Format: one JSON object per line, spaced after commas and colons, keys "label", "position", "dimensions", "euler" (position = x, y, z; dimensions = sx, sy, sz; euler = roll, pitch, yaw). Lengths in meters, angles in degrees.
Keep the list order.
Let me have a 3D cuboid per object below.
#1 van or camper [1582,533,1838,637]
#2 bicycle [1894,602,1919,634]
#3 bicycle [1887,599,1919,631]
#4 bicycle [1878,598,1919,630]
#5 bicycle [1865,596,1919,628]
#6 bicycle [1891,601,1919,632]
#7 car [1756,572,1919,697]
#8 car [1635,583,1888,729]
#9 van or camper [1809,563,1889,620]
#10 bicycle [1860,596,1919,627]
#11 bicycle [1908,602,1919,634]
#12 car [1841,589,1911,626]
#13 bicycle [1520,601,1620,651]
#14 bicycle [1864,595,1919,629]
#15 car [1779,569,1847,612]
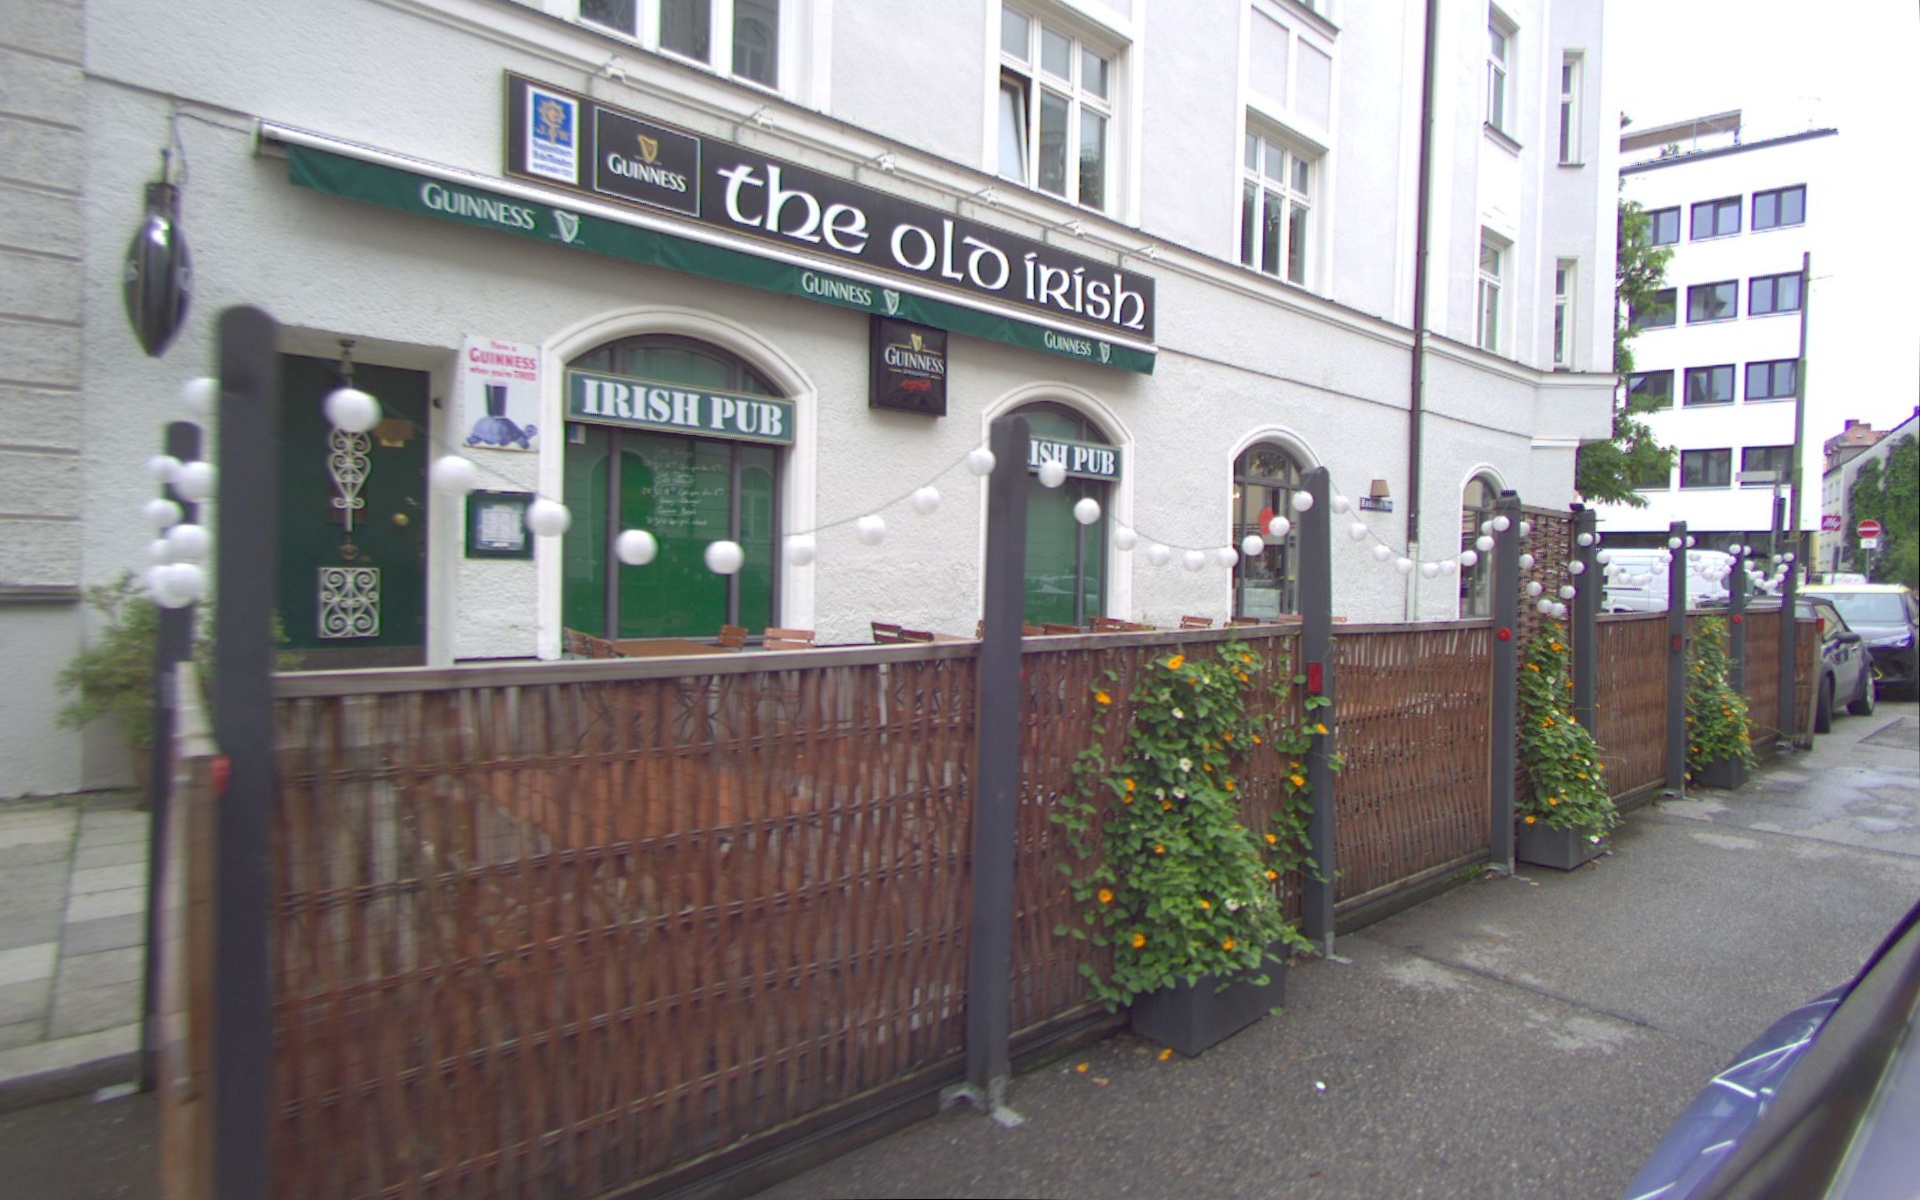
{"label": "van or camper", "position": [21.889, -0.452, 29.740], "dimensions": [5.847, 2.748, 2.270], "euler": [2, -1, 41]}
{"label": "bicycle", "position": [31.471, 0.594, 32.427], "dimensions": [2.165, 0.988, 0.962], "euler": [2, 1, 37]}
{"label": "bicycle", "position": [32.824, 0.526, 34.201], "dimensions": [2.094, 1.045, 0.962], "euler": [2, 1, 37]}
{"label": "bicycle", "position": [33.431, 0.501, 35.185], "dimensions": [2.141, 1.045, 0.962], "euler": [2, 1, 37]}
{"label": "bicycle", "position": [35.878, 0.444, 38.400], "dimensions": [2.193, 1.160, 0.687], "euler": [2, 1, 37]}
{"label": "bicycle", "position": [32.200, 0.570, 33.308], "dimensions": [2.162, 0.976, 0.962], "euler": [2, 1, 37]}
{"label": "car", "position": [13.596, 0.451, 15.209], "dimensions": [4.023, 1.639, 1.839], "euler": [0, -1, -41]}
{"label": "car", "position": [9.266, 0.550, 11.621], "dimensions": [3.431, 1.418, 1.669], "euler": [0, -1, -41]}
{"label": "van or camper", "position": [42.180, -0.433, 48.138], "dimensions": [1.953, 2.540, 5.657], "euler": [1, 1, 33]}
{"label": "bicycle", "position": [36.369, 0.441, 39.185], "dimensions": [2.195, 1.160, 0.631], "euler": [2, 1, 37]}
{"label": "bicycle", "position": [30.862, 0.592, 31.416], "dimensions": [1.983, 0.976, 0.961], "euler": [2, 1, 37]}
{"label": "car", "position": [37.824, 0.275, 41.856], "dimensions": [1.750, 1.412, 3.947], "euler": [2, 2, 37]}
{"label": "bicycle", "position": [15.111, 0.617, 25.128], "dimensions": [0.674, 1.144, 2.011], "euler": [0, 1, -36]}
{"label": "bicycle", "position": [34.068, 0.434, 36.406], "dimensions": [2.196, 1.160, 0.730], "euler": [2, 1, 37]}
{"label": "car", "position": [45.188, -0.524, 53.699], "dimensions": [1.983, 2.160, 3.959], "euler": [1, 1, 29]}
